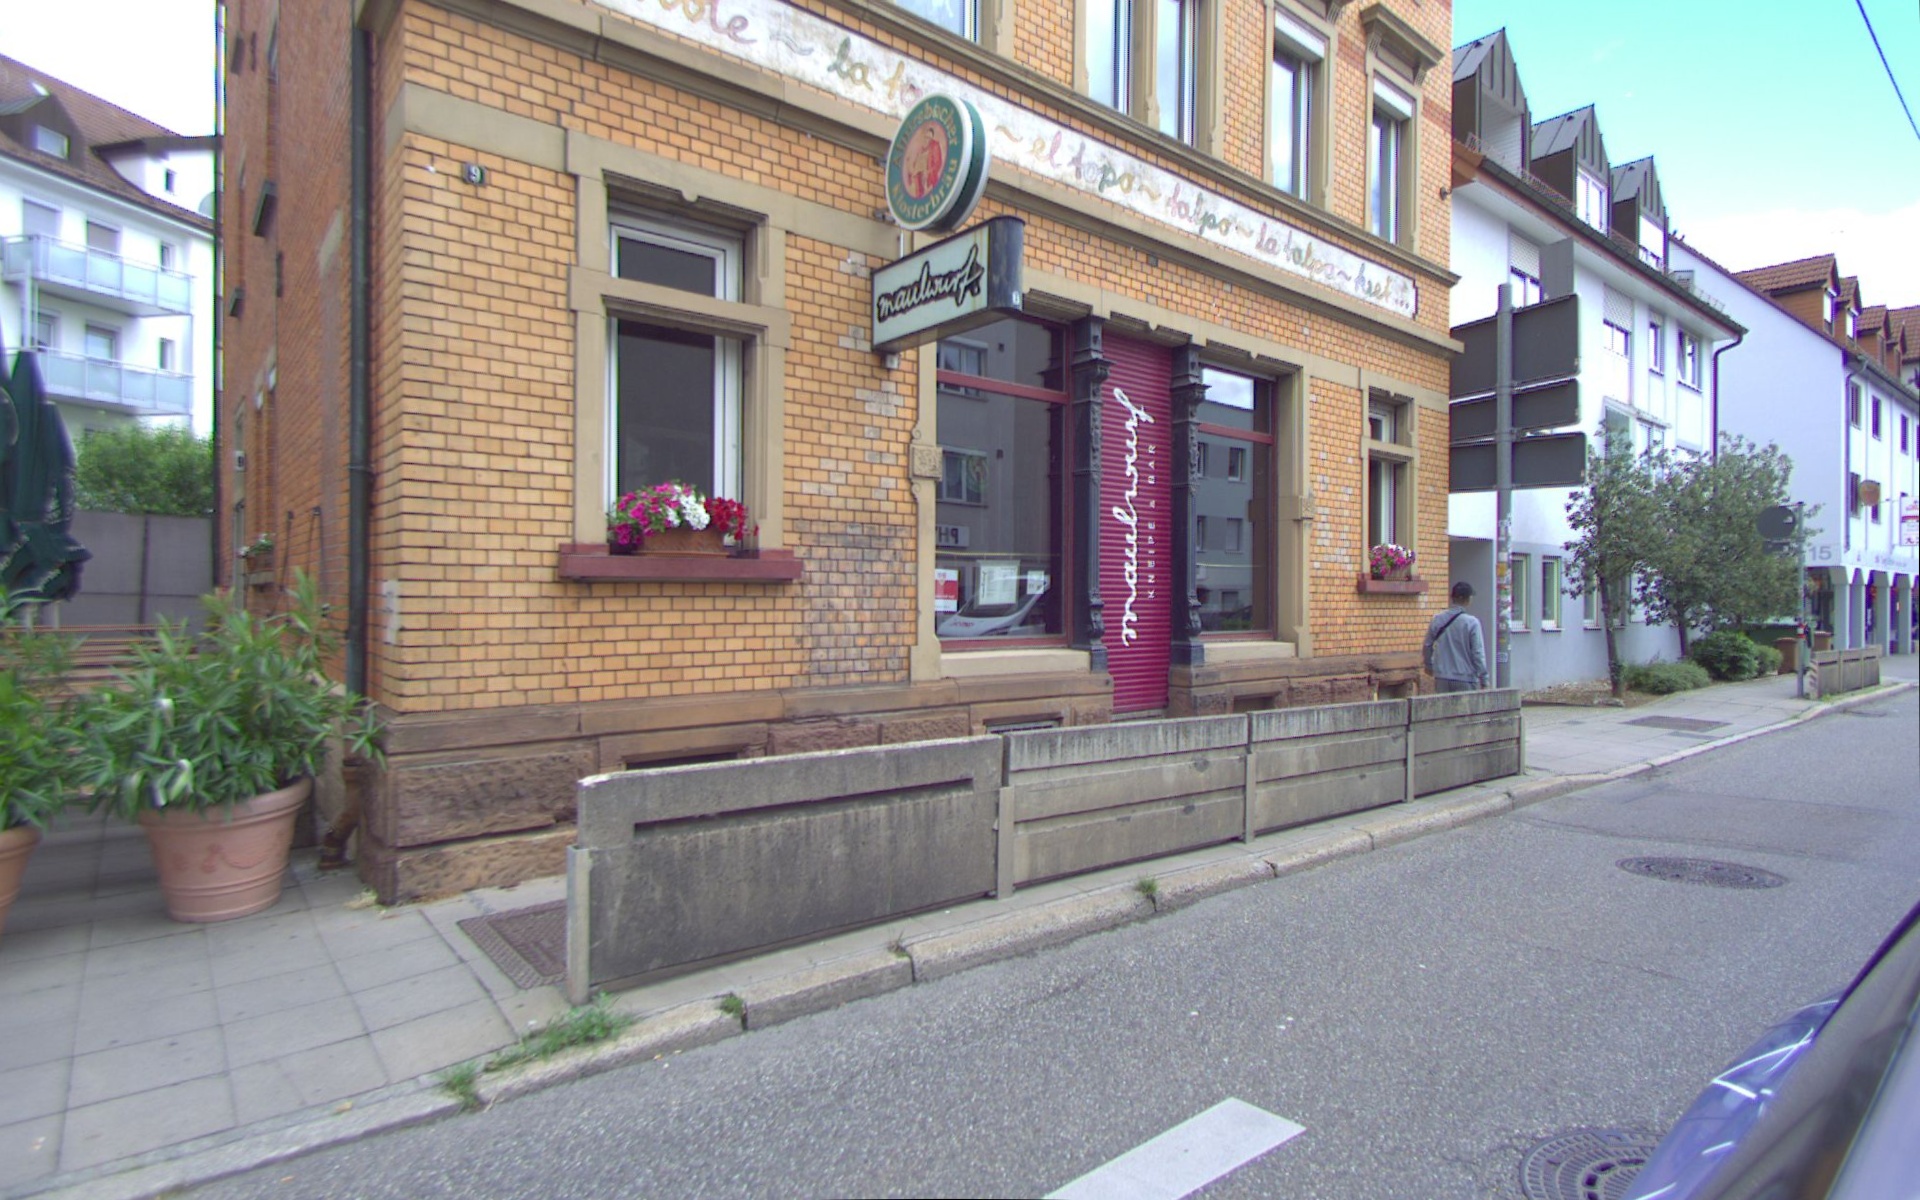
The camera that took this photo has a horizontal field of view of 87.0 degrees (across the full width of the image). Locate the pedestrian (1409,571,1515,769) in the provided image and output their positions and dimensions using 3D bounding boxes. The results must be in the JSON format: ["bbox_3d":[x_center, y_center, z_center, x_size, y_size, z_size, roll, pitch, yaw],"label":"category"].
[{"bbox_3d":[4.664,0.614,9.414,0.638,1.753,0.689,1,0,-41],"label":"pedestrian"}]
